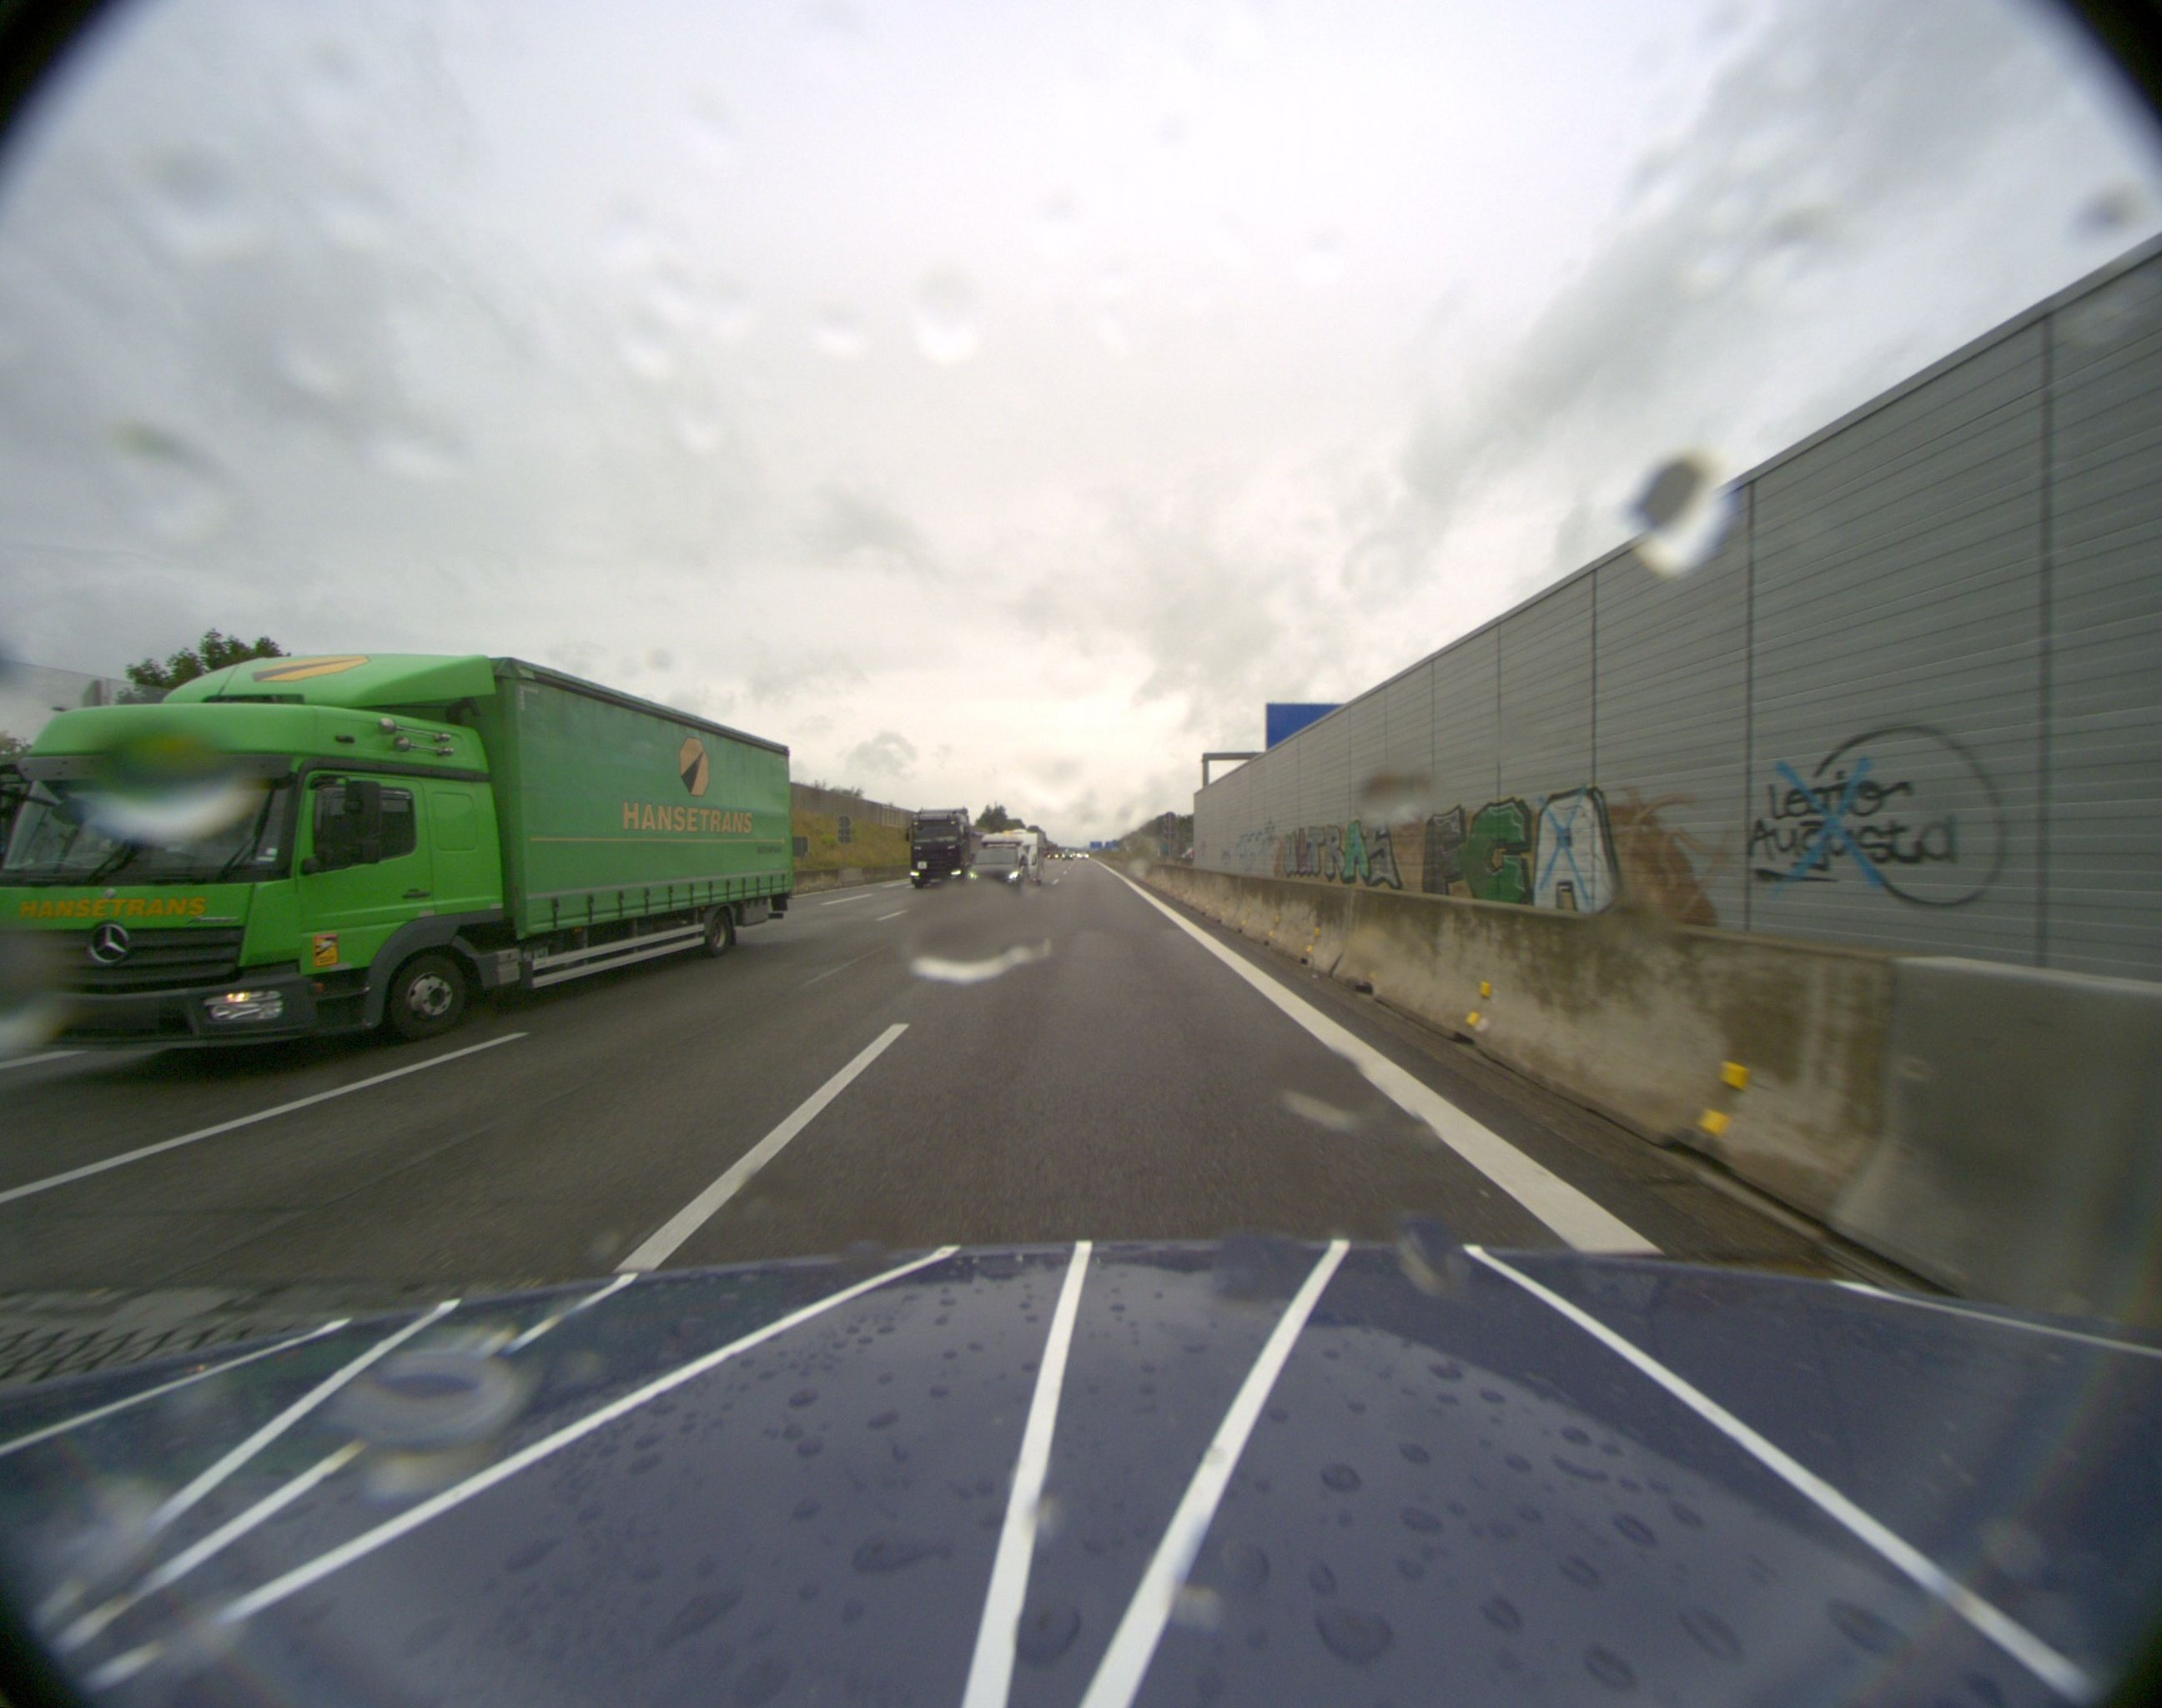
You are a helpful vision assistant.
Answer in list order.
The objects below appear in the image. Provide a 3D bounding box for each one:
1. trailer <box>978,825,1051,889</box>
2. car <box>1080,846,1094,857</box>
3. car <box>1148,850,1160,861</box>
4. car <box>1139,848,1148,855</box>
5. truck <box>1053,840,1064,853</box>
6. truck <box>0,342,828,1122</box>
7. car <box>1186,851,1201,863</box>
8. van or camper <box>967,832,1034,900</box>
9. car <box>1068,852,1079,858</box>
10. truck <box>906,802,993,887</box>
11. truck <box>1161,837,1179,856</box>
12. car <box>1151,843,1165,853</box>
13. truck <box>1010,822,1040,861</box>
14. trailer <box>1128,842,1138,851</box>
[{"bbox_3d":[-2.924,0.110,35.494,2.728,2.627,7.511,-1,0,0],"label":"trailer"},{"bbox_3d":[1.286,-0.449,164.405,2.680,2.340,5.806,-1,0,-2],"label":"car"},{"bbox_3d":[13.450,0.300,139.434,1.873,1.911,4.000,-2,1,1],"label":"car"},{"bbox_3d":[17.901,-0.644,217.434,1.912,2.002,5.953,-2,1,0],"label":"car"},{"bbox_3d":[-5.691,-1.779,190.729,2.617,3.218,4.632,-1,0,0],"label":"truck"},{"bbox_3d":[-7.637,-0.825,10.792,4.007,5.235,11.218,-2,1,1],"label":"truck"},{"bbox_3d":[19.992,0.560,134.759,1.999,1.969,3.999,-2,1,-1],"label":"car"},{"bbox_3d":[-2.923,0.403,28.897,1.895,2.256,5.678,-2,0,0],"label":"van or camper"},{"bbox_3d":[-1.520,0.235,146.417,2.061,1.020,3.437,-2,1,0],"label":"car"},{"bbox_3d":[-6.828,-0.510,41.700,2.820,3.927,12.710,0,1,-1],"label":"truck"},{"bbox_3d":[19.299,-1.569,164.374,2.869,3.816,7.521,-2,1,0],"label":"truck"},{"bbox_3d":[15.666,-1.202,154.752,2.219,2.002,7.058,-2,0,1],"label":"car"},{"bbox_3d":[-6.095,-1.333,84.021,2.693,3.935,9.324,-2,1,-1],"label":"truck"},{"bbox_3d":[18.055,-2.462,263.514,2.618,2.972,10.795,-2,0,-1],"label":"trailer"}]
